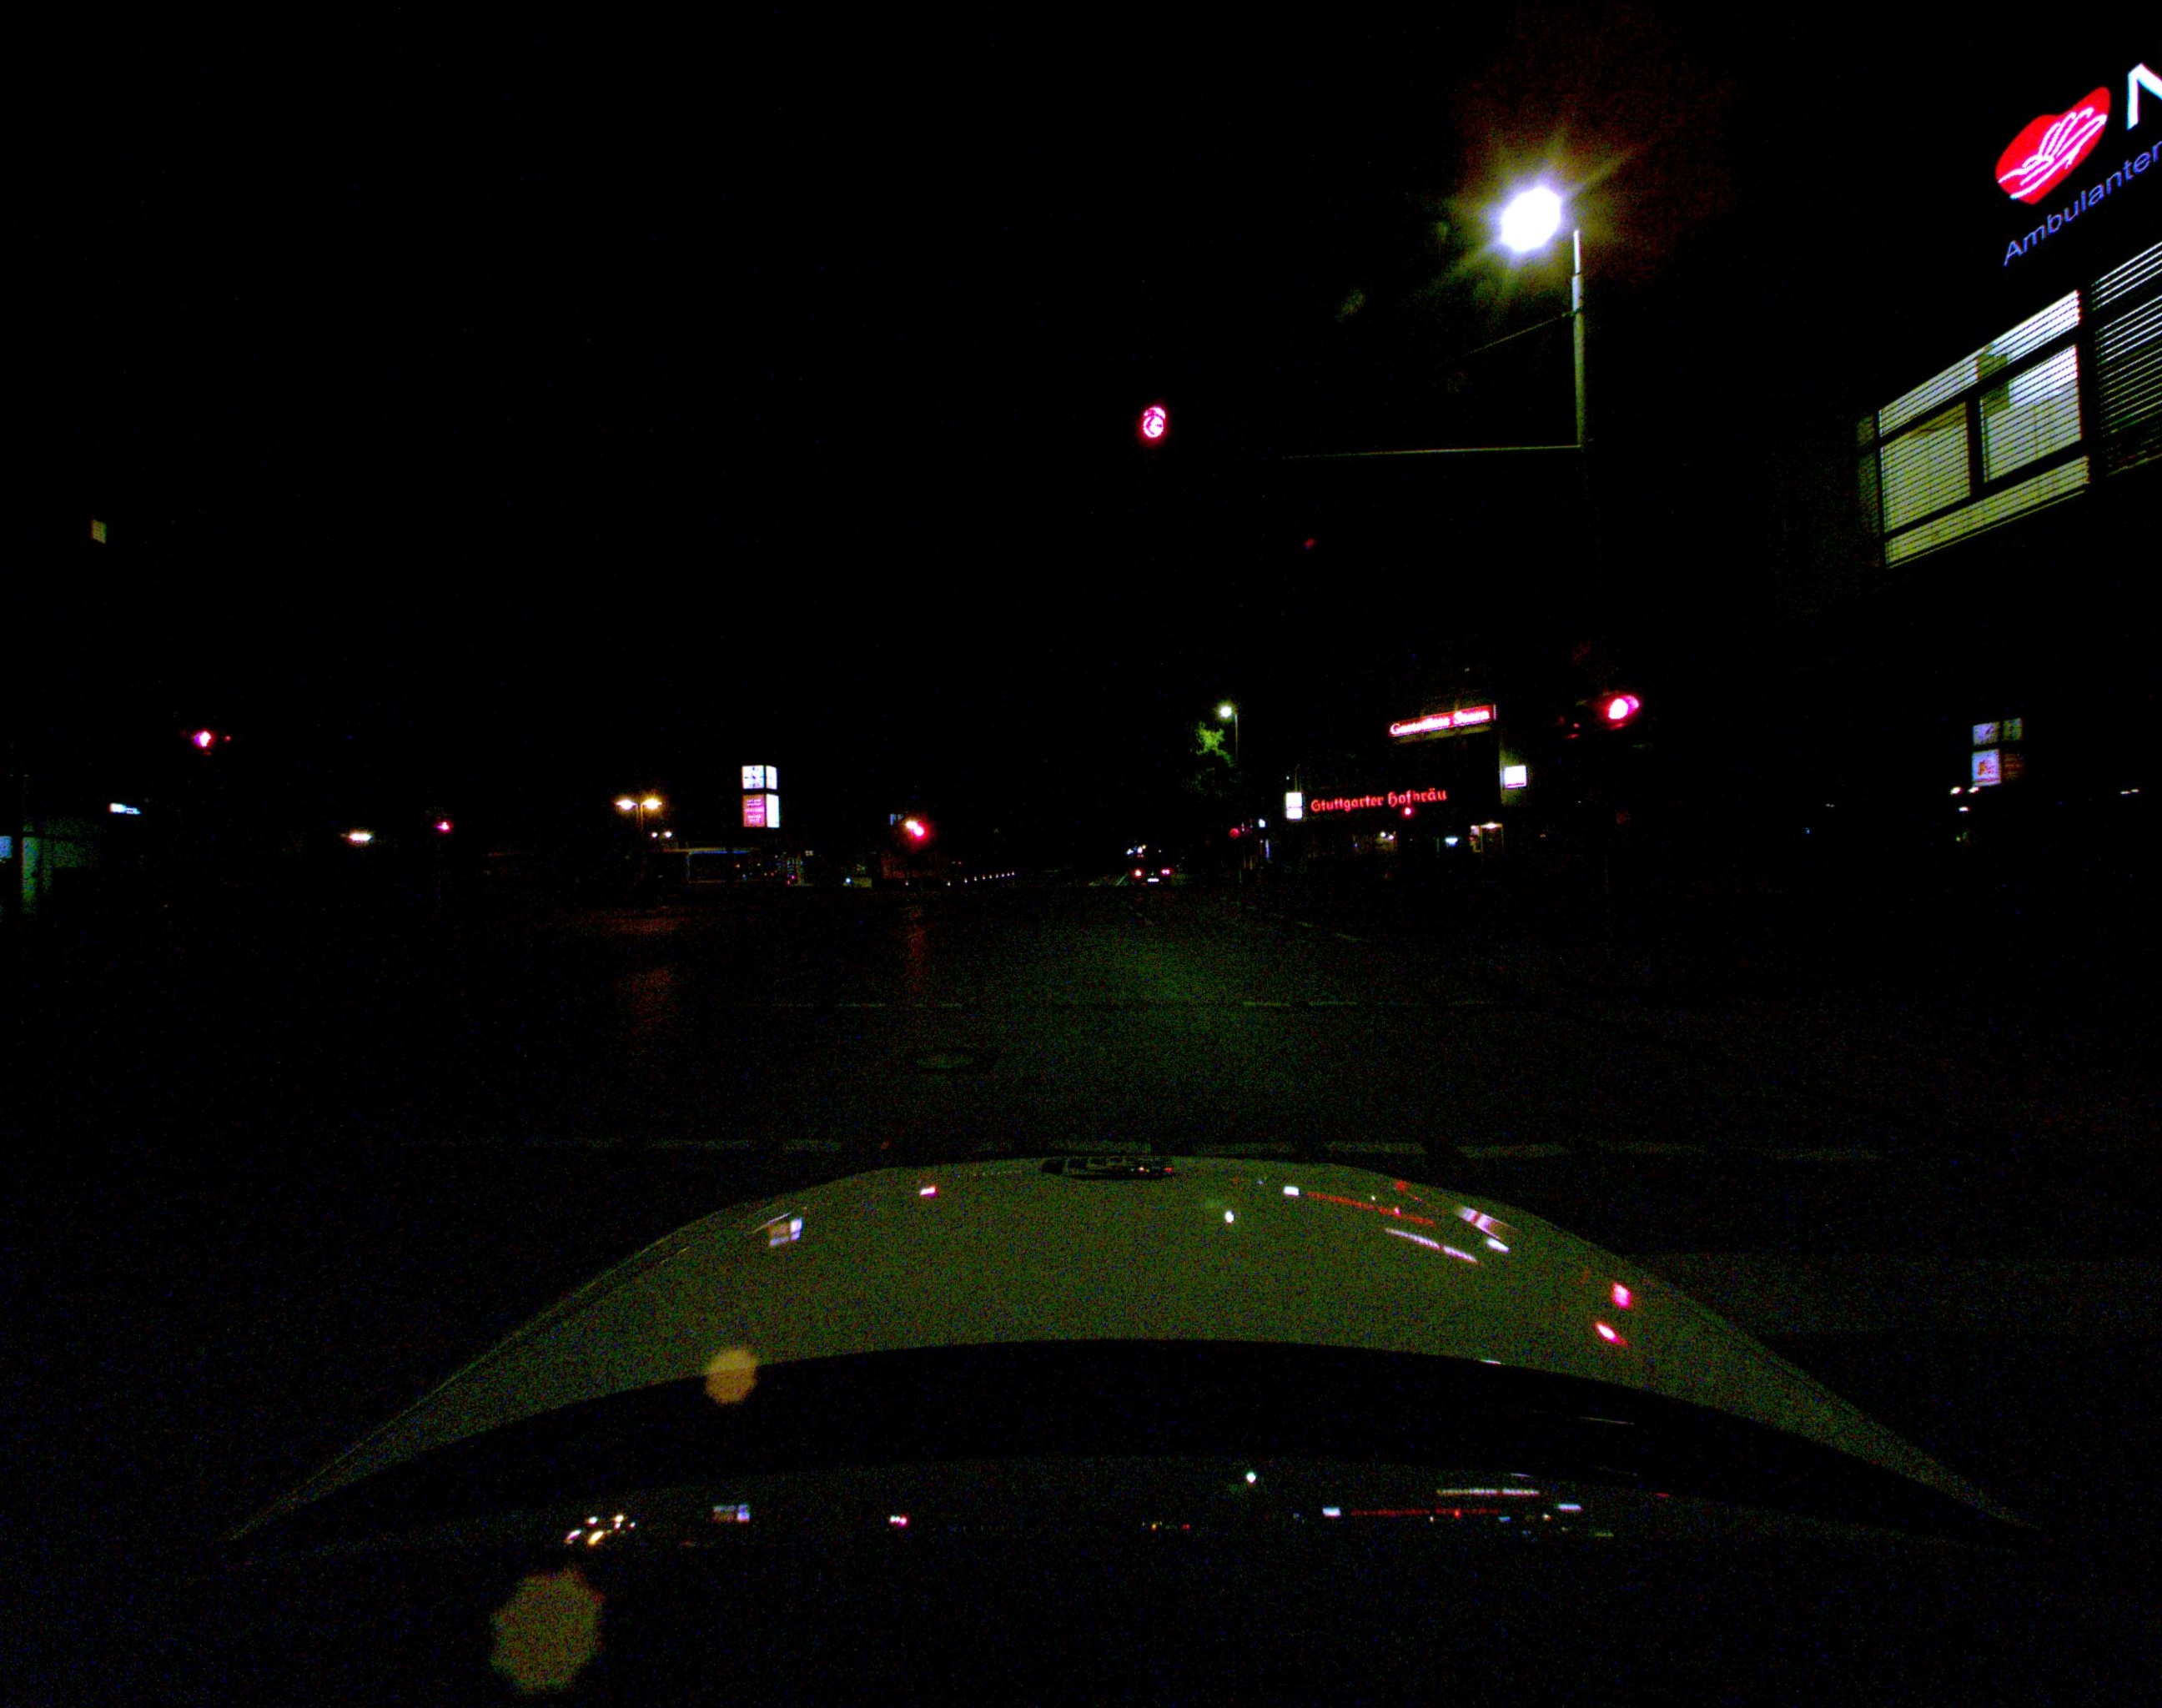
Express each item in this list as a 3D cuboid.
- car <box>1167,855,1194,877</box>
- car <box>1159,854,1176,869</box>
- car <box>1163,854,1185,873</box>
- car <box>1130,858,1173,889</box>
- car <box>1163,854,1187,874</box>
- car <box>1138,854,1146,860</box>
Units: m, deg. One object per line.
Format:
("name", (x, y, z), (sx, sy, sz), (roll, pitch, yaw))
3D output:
("car", (7.692, 0.947, 63.441), (1.868, 1.615, 4.005), (-2, -1, 5))
("car", (10.042, 0.902, 94.457), (1.868, 1.683, 4.005), (-2, -1, 5))
("car", (8.675, 0.874, 76.430), (1.868, 1.729, 4.005), (-2, -1, 5))
("car", (3.531, 0.961, 41.508), (1.867, 1.454, 4.316), (0, 0, 1))
("car", (7.880, 0.828, 68.773), (1.868, 1.615, 4.005), (-2, -1, 5))
("car", (18.426, 0.920, 247.083), (2.218, 1.651, 4.003), (-1, 0, 3))
